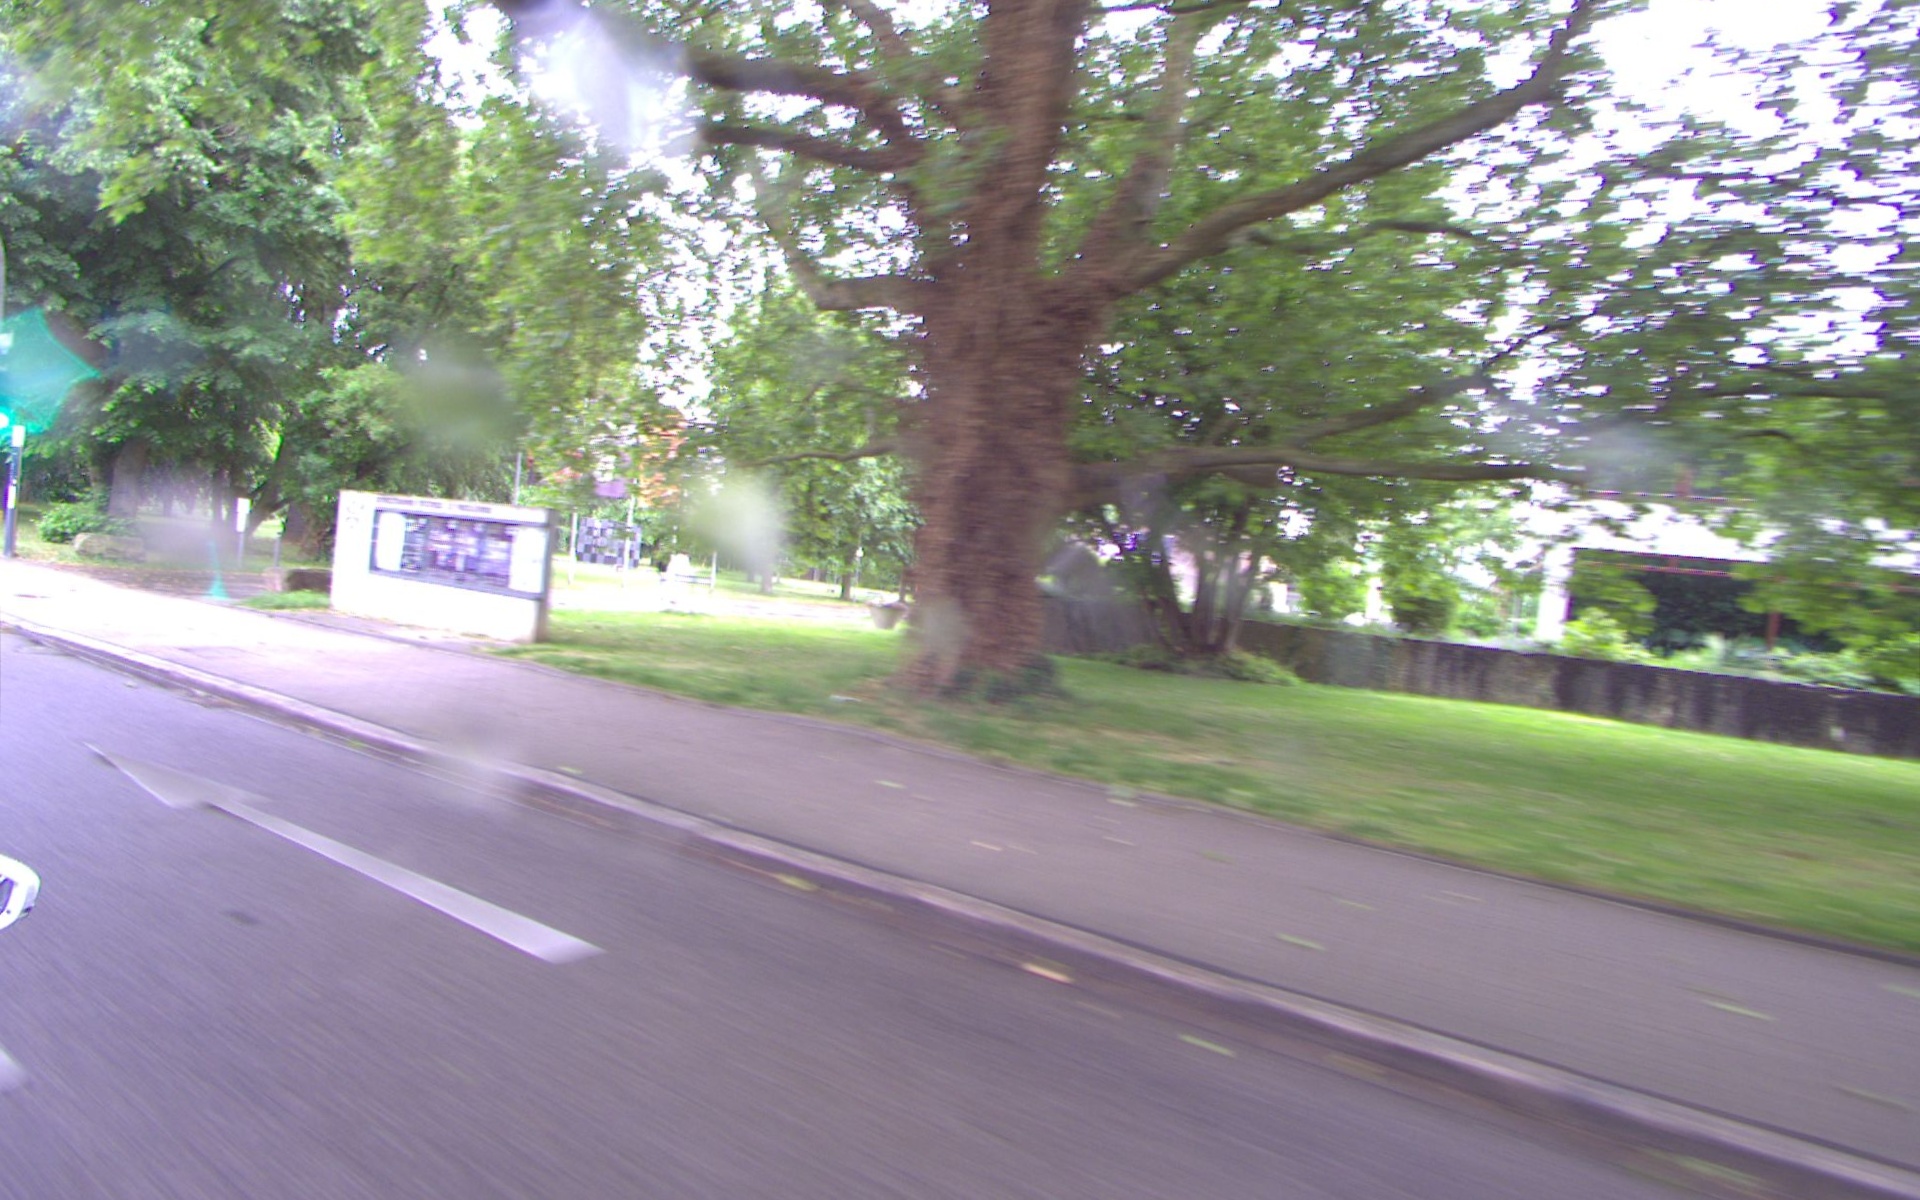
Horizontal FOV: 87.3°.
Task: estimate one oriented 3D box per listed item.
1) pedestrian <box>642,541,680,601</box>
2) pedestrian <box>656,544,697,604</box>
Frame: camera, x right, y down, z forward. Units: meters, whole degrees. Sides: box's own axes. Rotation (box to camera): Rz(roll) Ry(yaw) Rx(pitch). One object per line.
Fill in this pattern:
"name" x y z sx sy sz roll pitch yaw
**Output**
"pedestrian" -9.478 -0.922 31.871 0.711 1.776 0.666 6 -1 23
"pedestrian" -8.764 -0.790 31.090 0.776 1.732 0.666 6 -1 23
